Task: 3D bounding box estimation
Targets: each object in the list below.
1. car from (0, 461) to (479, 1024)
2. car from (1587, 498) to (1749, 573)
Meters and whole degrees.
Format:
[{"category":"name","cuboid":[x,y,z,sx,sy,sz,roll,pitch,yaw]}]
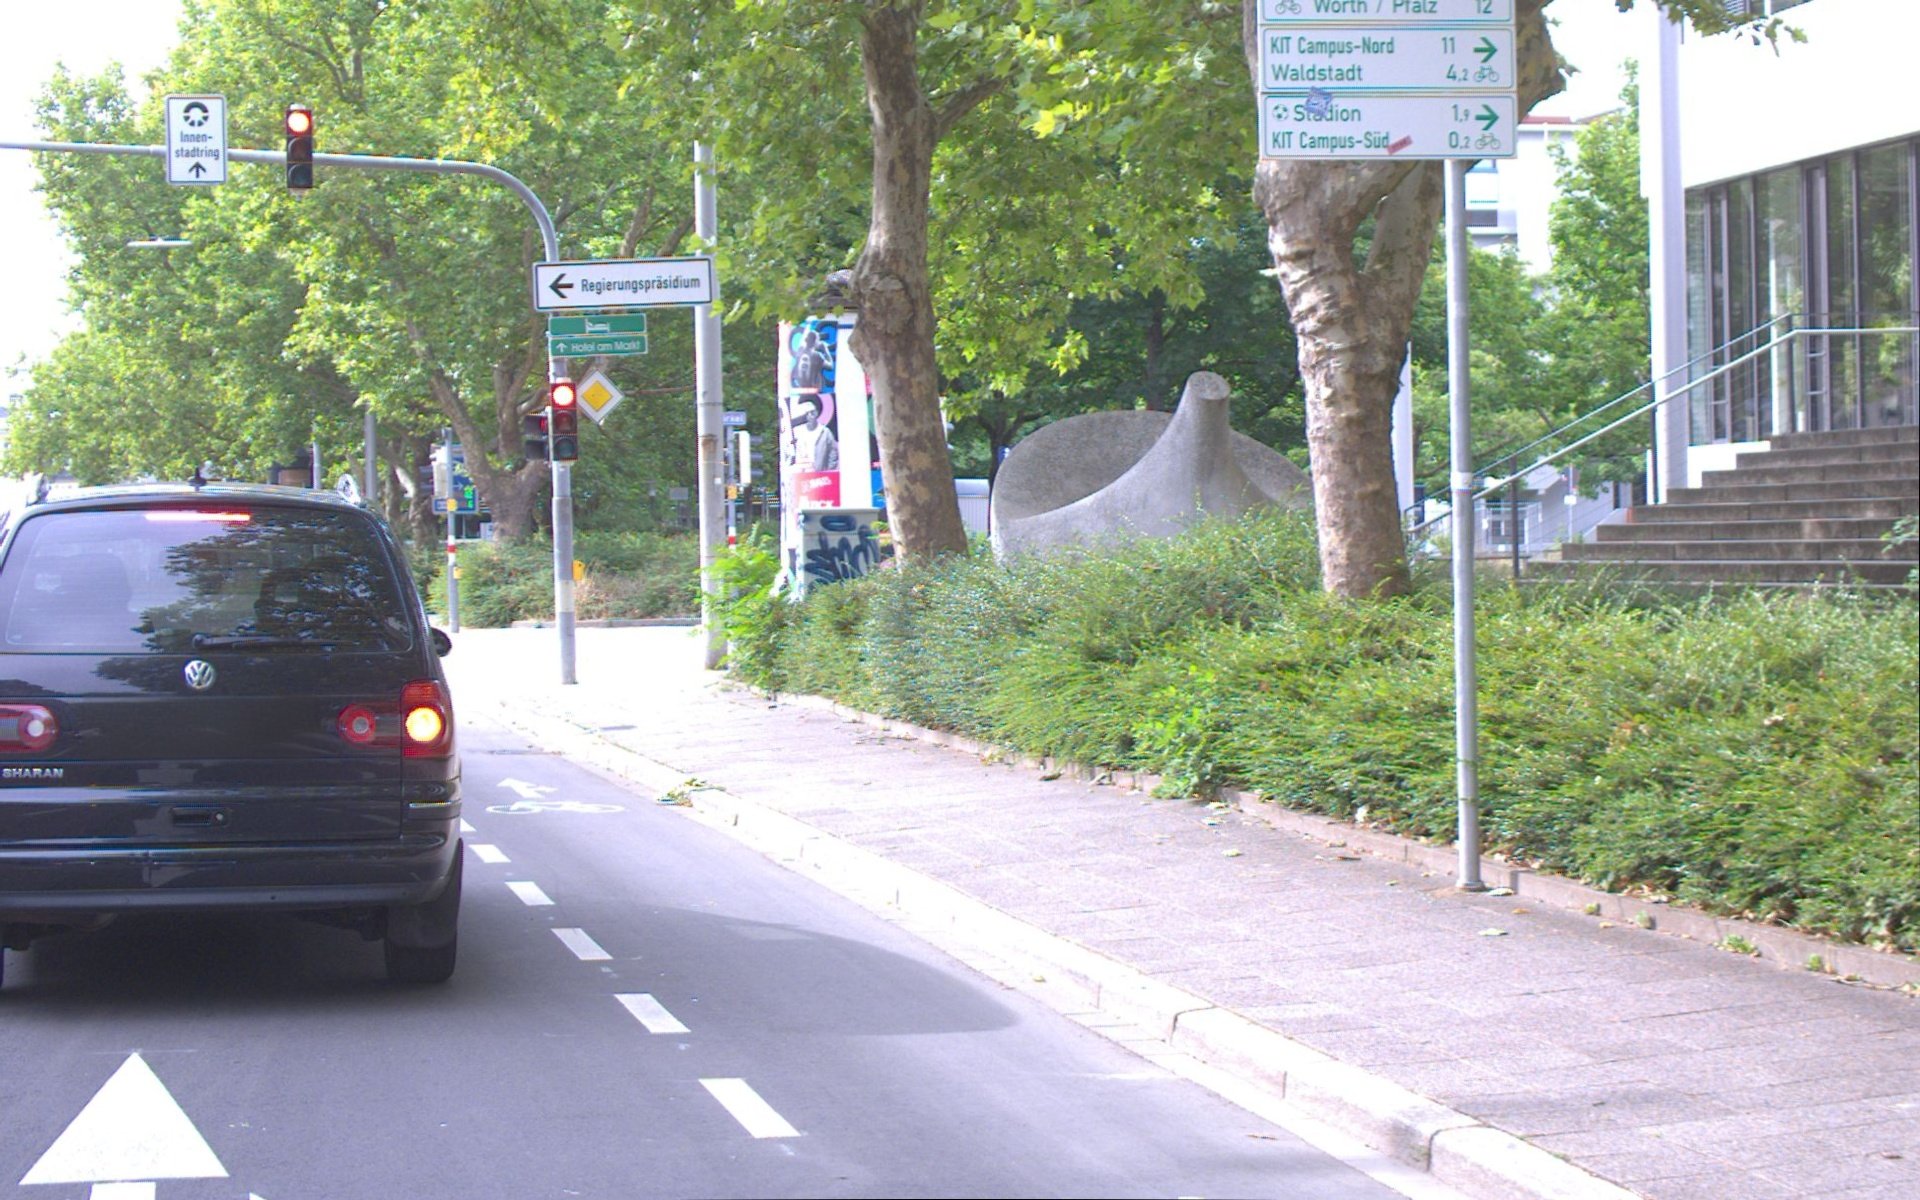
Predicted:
[{"category":"car","cuboid":[-2.857,0.396,13.036,1.873,1.739,4.575,-1,1,-10]},{"category":"car","cuboid":[16.282,-1.476,79.243,1.960,1.645,4.154,-1,1,-15]}]
